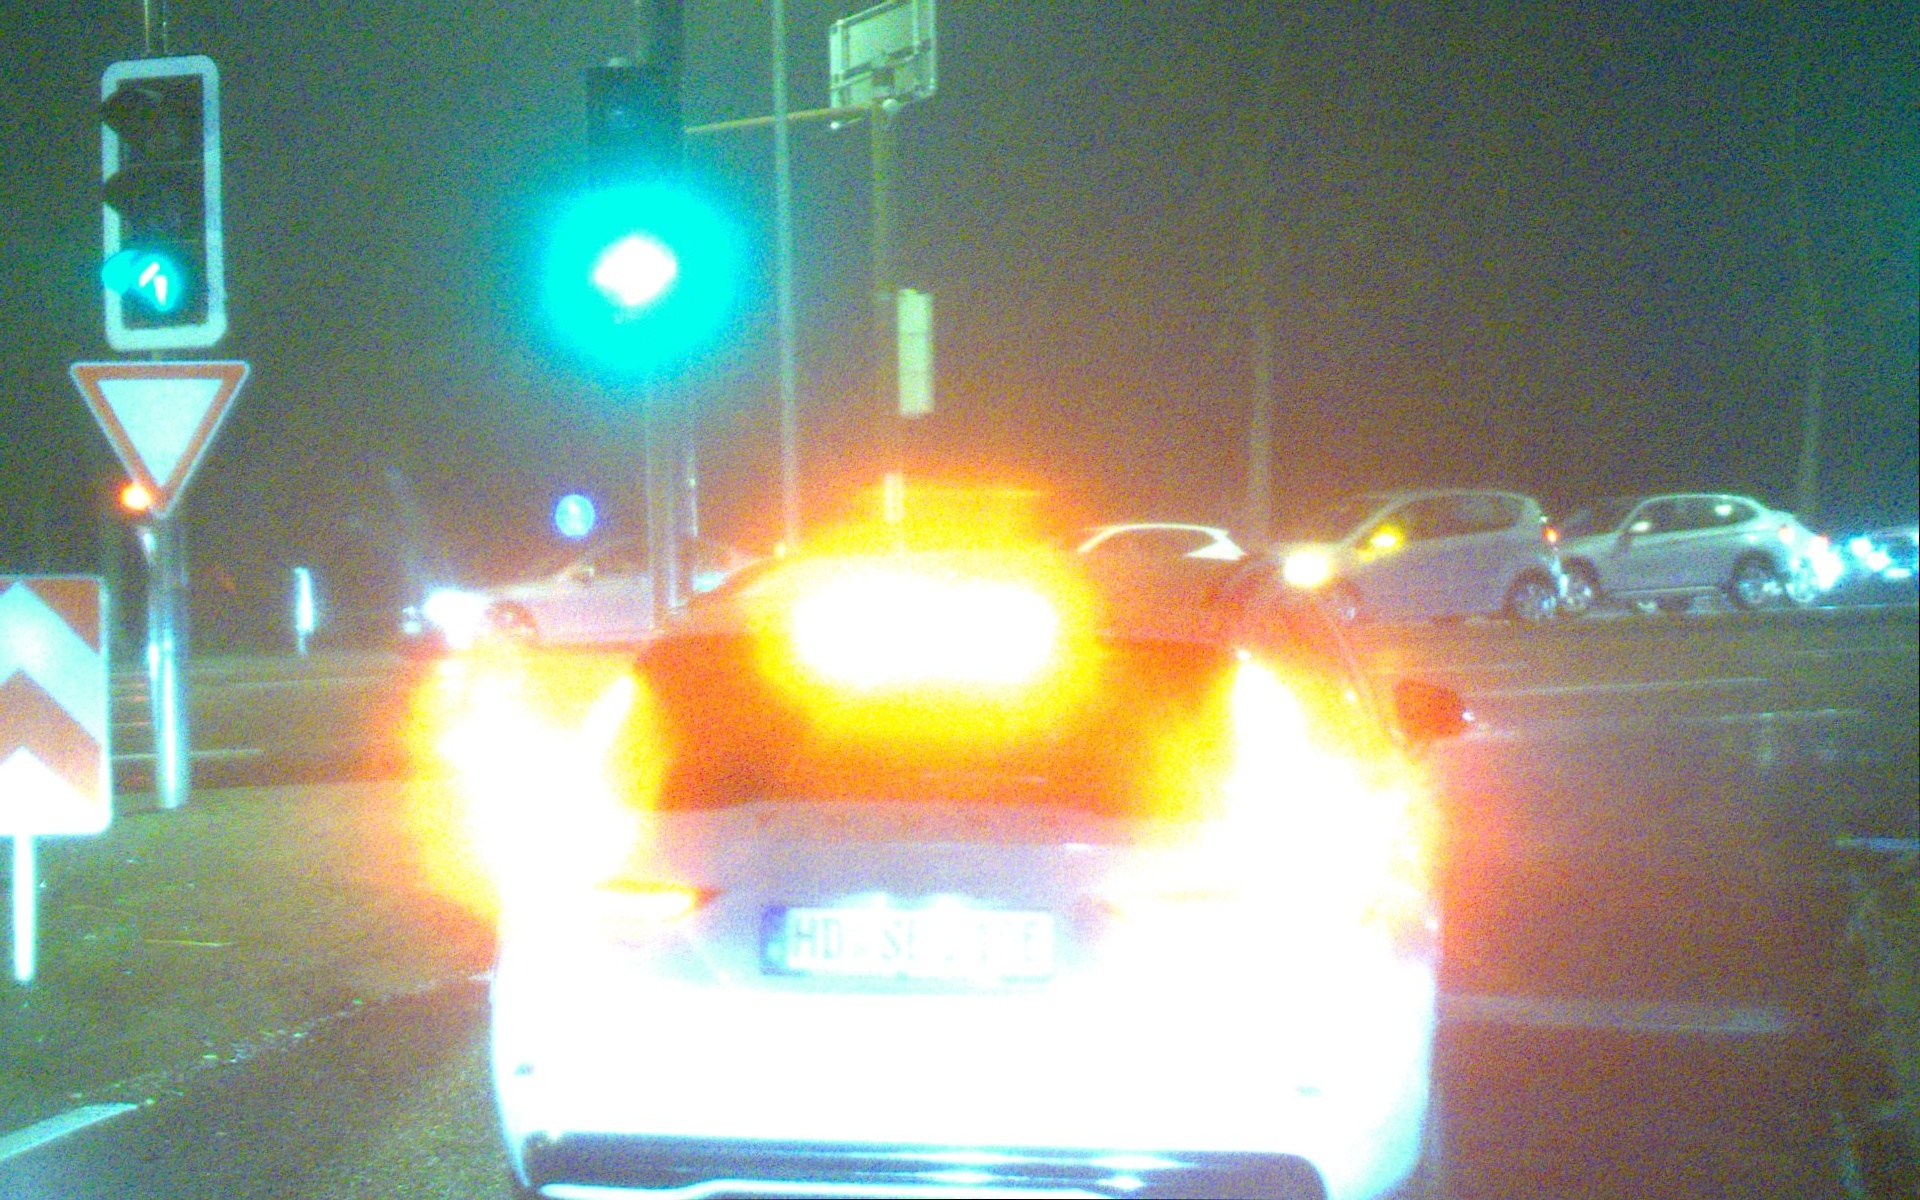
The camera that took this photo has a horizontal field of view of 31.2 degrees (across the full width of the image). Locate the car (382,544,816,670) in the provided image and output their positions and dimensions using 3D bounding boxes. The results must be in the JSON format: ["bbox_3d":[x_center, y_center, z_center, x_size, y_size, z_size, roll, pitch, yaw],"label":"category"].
[{"bbox_3d":[-4.262,0.070,40.742,4.786,1.422,1.766,0,0,-26],"label":"car"}]

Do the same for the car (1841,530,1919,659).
[{"bbox_3d":[15.180,-0.090,50.653,4.110,1.842,1.766,0,0,-27],"label":"car"}]

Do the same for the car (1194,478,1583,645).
[{"bbox_3d":[4.726,-0.453,37.906,3.888,1.719,1.766,-2,2,-25],"label":"car"}]

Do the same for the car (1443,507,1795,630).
[{"bbox_3d":[8.239,-0.388,42.978,4.043,1.482,1.718,0,0,-23],"label":"car"}]

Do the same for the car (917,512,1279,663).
[{"bbox_3d":[1.766,-0.156,43.682,4.270,1.842,1.766,0,0,-27],"label":"car"}]

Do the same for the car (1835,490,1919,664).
[{"bbox_3d":[17.068,-0.368,55.454,5.589,2.701,2.257,0,0,-26],"label":"car"}]

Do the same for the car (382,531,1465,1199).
[{"bbox_3d":[0.225,0.588,7.935,1.797,1.447,4.267,0,2,9],"label":"car"}]

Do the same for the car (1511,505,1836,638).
[{"bbox_3d":[9.971,-0.393,48.020,4.236,1.793,1.804,0,0,-27],"label":"car"}]
